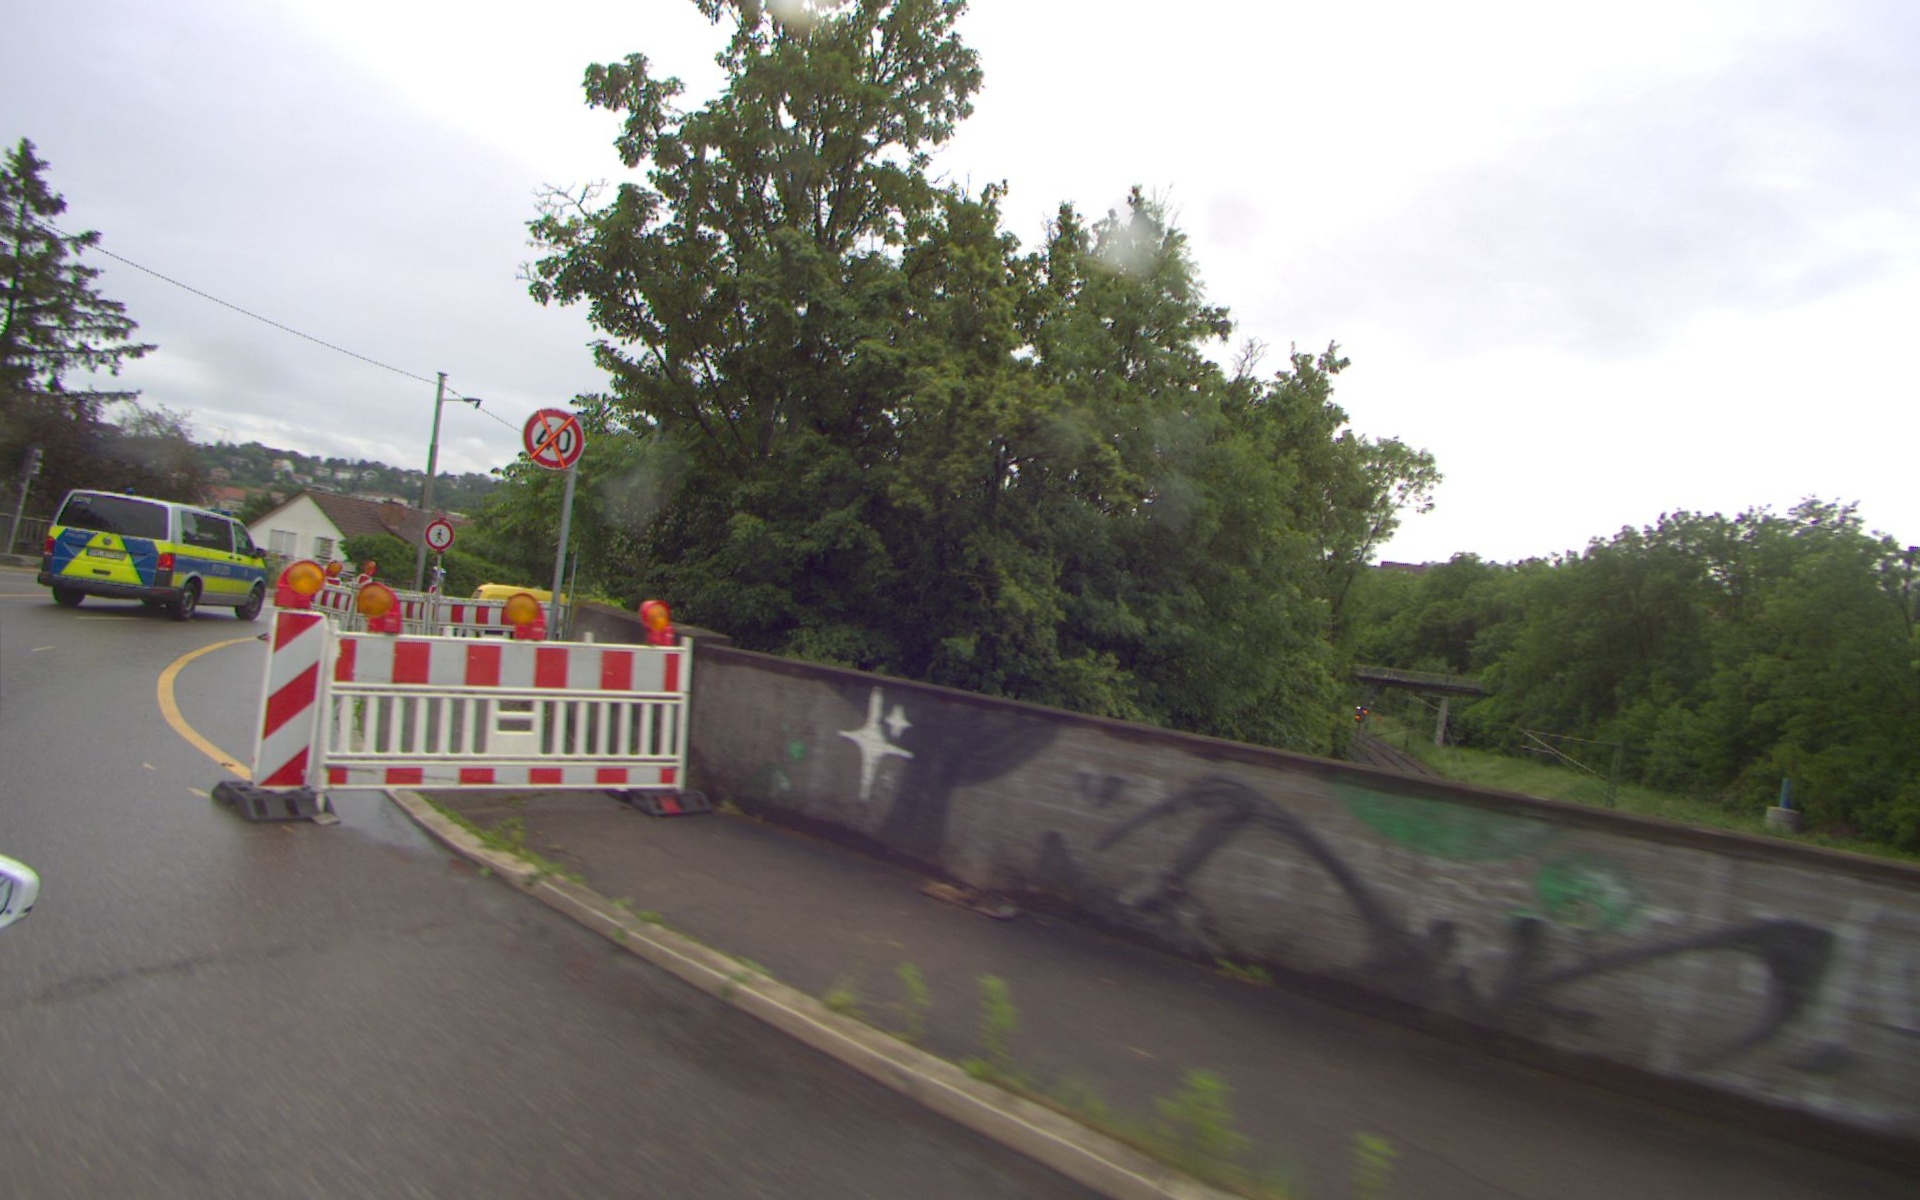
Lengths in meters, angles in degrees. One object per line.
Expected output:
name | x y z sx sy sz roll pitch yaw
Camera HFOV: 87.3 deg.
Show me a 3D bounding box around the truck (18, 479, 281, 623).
truck | -14.394 -0.786 18.281 1.971 2.038 4.718 7 -1 -18
